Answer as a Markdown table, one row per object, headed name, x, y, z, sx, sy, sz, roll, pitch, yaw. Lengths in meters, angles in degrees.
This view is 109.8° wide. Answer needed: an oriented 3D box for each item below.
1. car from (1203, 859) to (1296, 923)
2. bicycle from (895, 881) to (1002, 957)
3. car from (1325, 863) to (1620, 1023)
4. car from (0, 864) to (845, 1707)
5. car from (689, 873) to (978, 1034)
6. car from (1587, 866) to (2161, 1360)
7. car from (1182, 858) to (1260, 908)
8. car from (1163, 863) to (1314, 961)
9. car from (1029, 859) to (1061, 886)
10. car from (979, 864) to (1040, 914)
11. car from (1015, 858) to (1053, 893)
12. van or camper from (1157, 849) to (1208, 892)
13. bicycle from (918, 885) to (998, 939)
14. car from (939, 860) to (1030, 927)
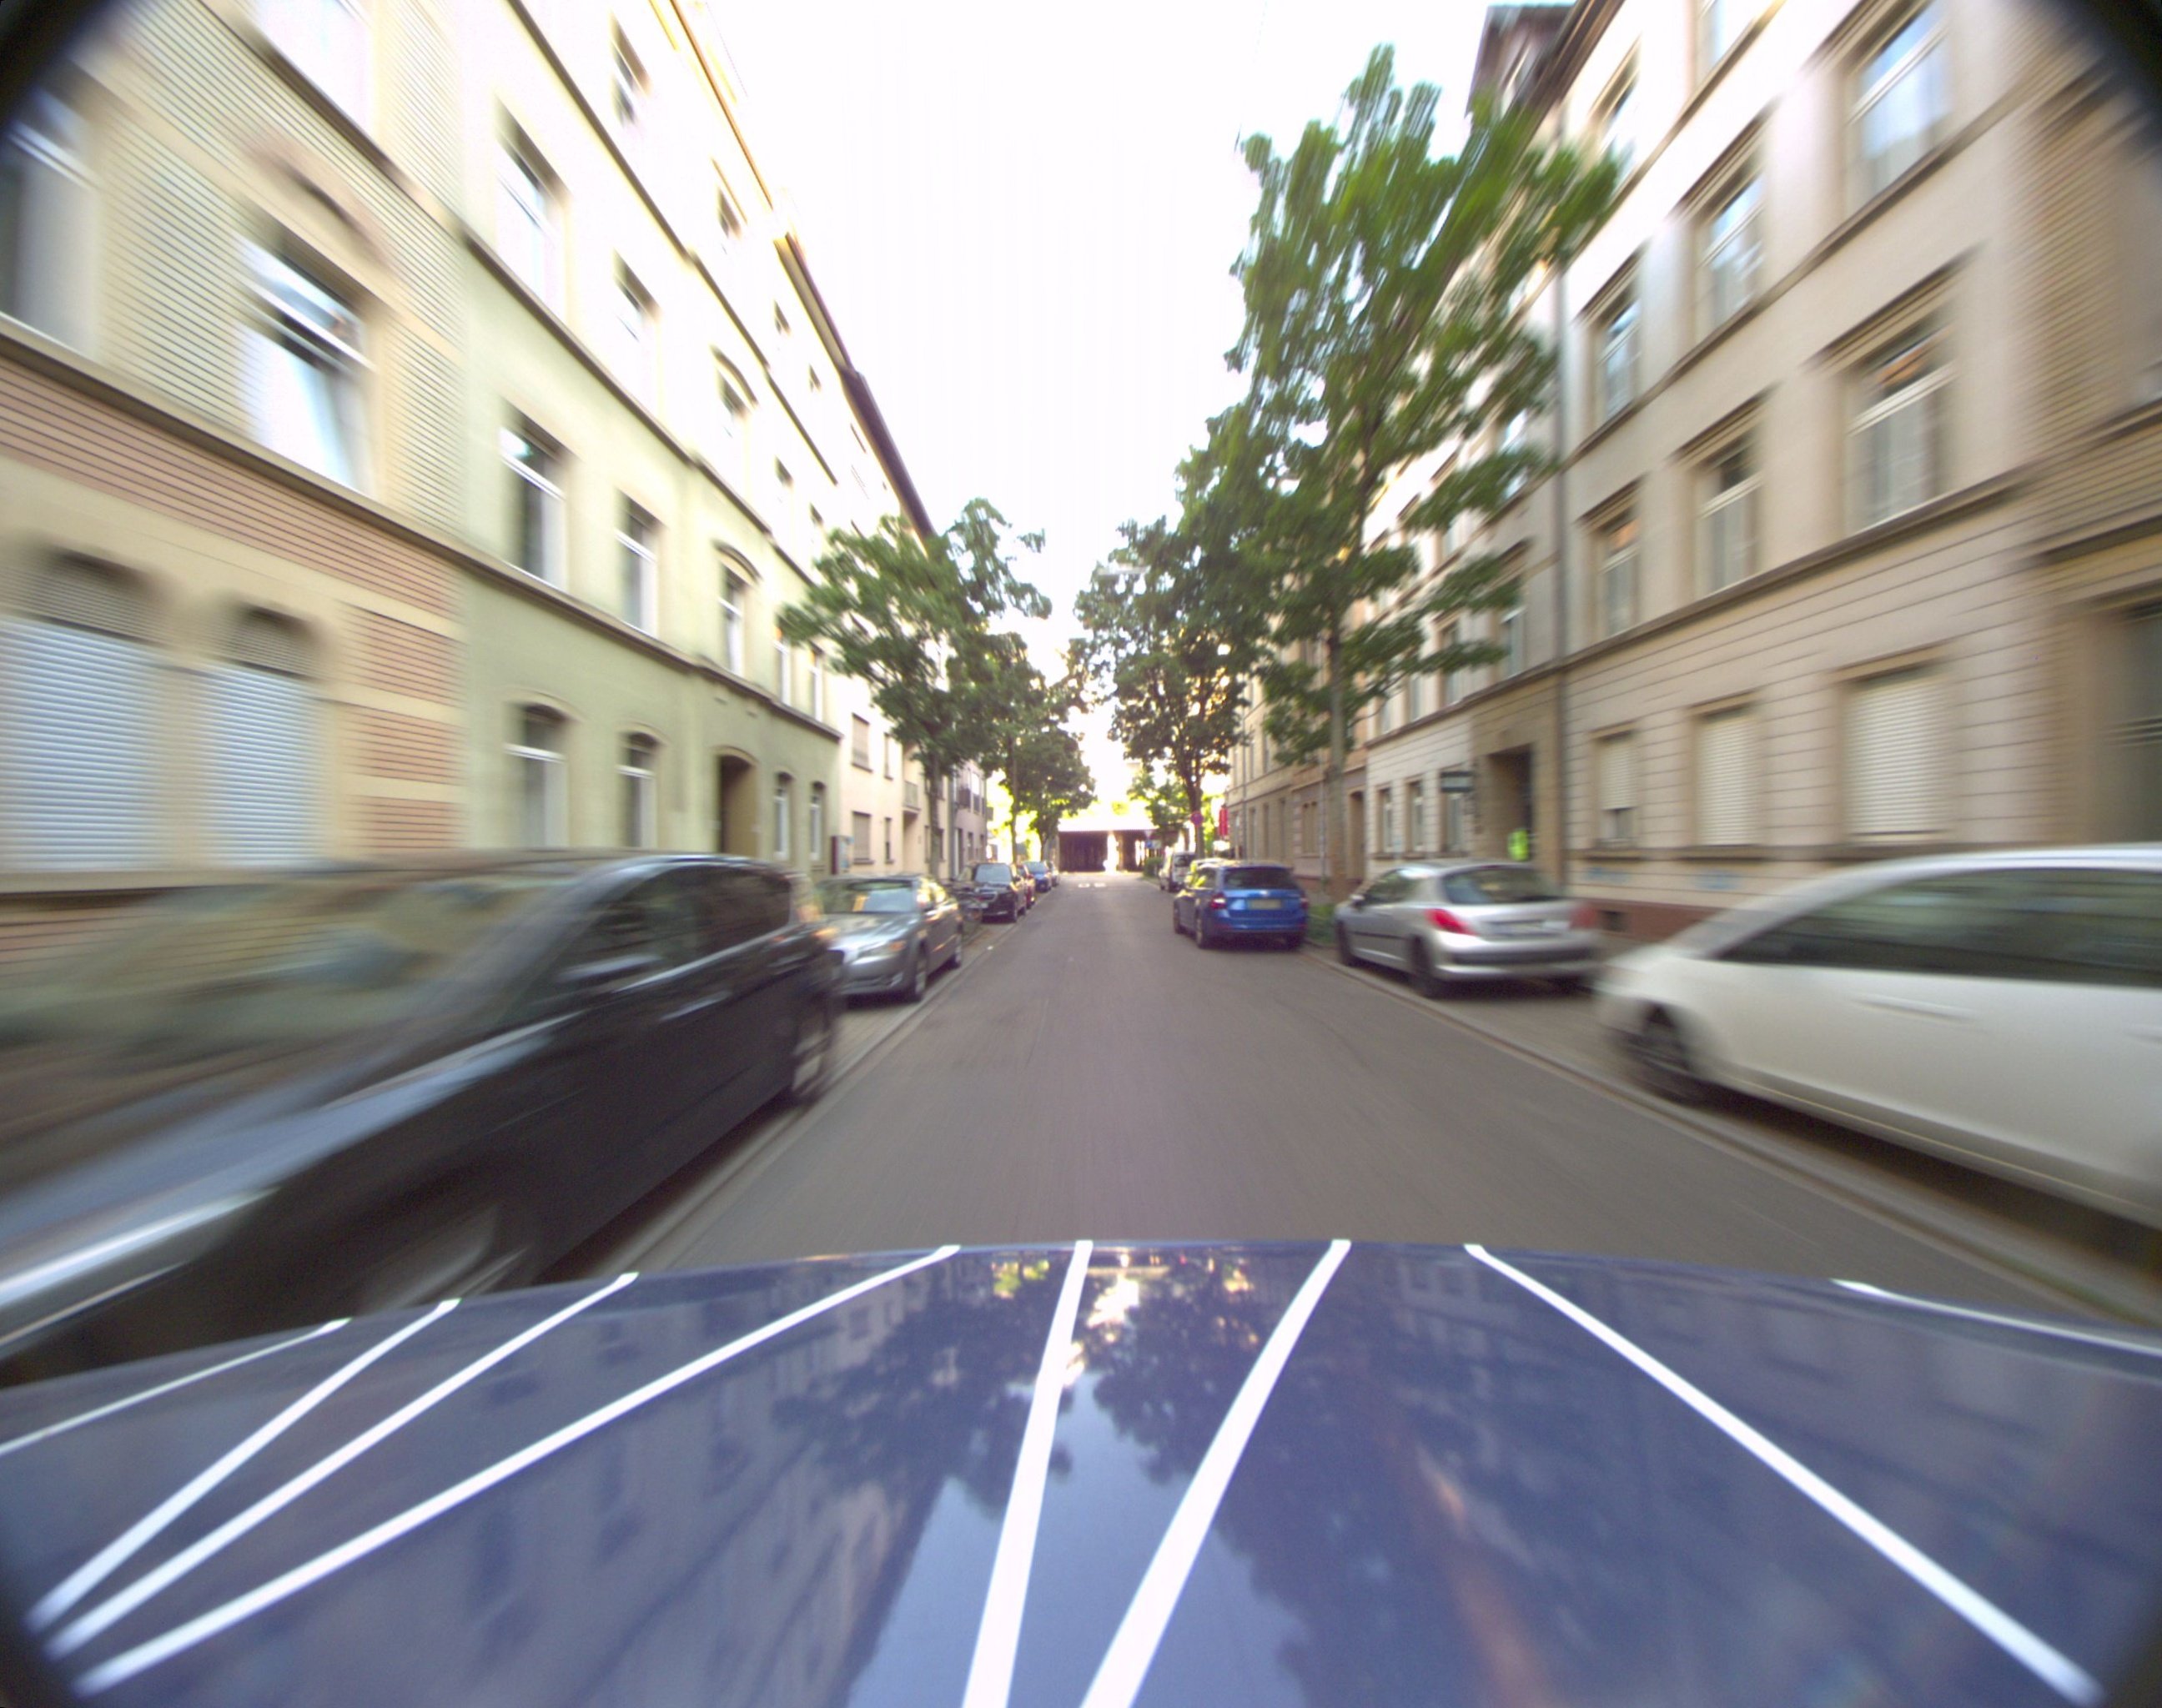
| name | x | y | z | sx | sy | sz | roll | pitch | yaw |
| --- | --- | --- | --- | --- | --- | --- | --- | --- | --- |
| car | 4.424 | 0.919 | 20.490 | 1.756 | 1.486 | 3.757 | -1 | 0 | 2 |
| bicycle | -2.361 | 1.131 | 13.589 | 1.761 | 1.217 | 0.639 | -1 | 2 | -27 |
| car | 4.381 | 0.879 | 9.232 | 1.614 | 1.431 | 3.848 | -2 | 0 | 1 |
| car | -2.639 | 0.912 | 3.010 | 1.944 | 1.621 | 4.454 | -1 | 0 | 0 |
| car | -2.703 | 1.015 | 9.715 | 2.051 | 1.395 | 4.866 | 0 | 0 | 0 |
| car | 4.320 | 0.871 | 3.329 | 1.614 | 1.534 | 3.799 | -1 | 0 | -1 |
| car | 4.622 | 0.900 | 25.585 | 1.756 | 1.486 | 3.756 | -1 | 0 | -2 |
| car | 2.672 | 0.917 | 13.864 | 1.665 | 1.448 | 4.282 | 0 | 0 | -3 |
| car | -1.982 | 1.013 | 42.629 | 1.656 | 1.381 | 3.512 | -1 | 0 | -2 |
| car | -2.298 | 1.099 | 25.088 | 1.656 | 1.431 | 3.638 | -1 | 0 | 0 |
| car | -2.190 | 0.993 | 36.498 | 1.656 | 1.500 | 3.869 | -1 | 0 | -2 |
| van or camper | 4.617 | 0.714 | 34.854 | 1.684 | 1.847 | 3.756 | -1 | 0 | -2 |
| bicycle | -2.651 | 1.212 | 16.286 | 1.753 | 1.014 | 0.642 | 1 | 2 | 36 |
| car | -2.413 | 0.943 | 20.003 | 1.835 | 1.530 | 4.123 | 0 | 0 | 0 |
